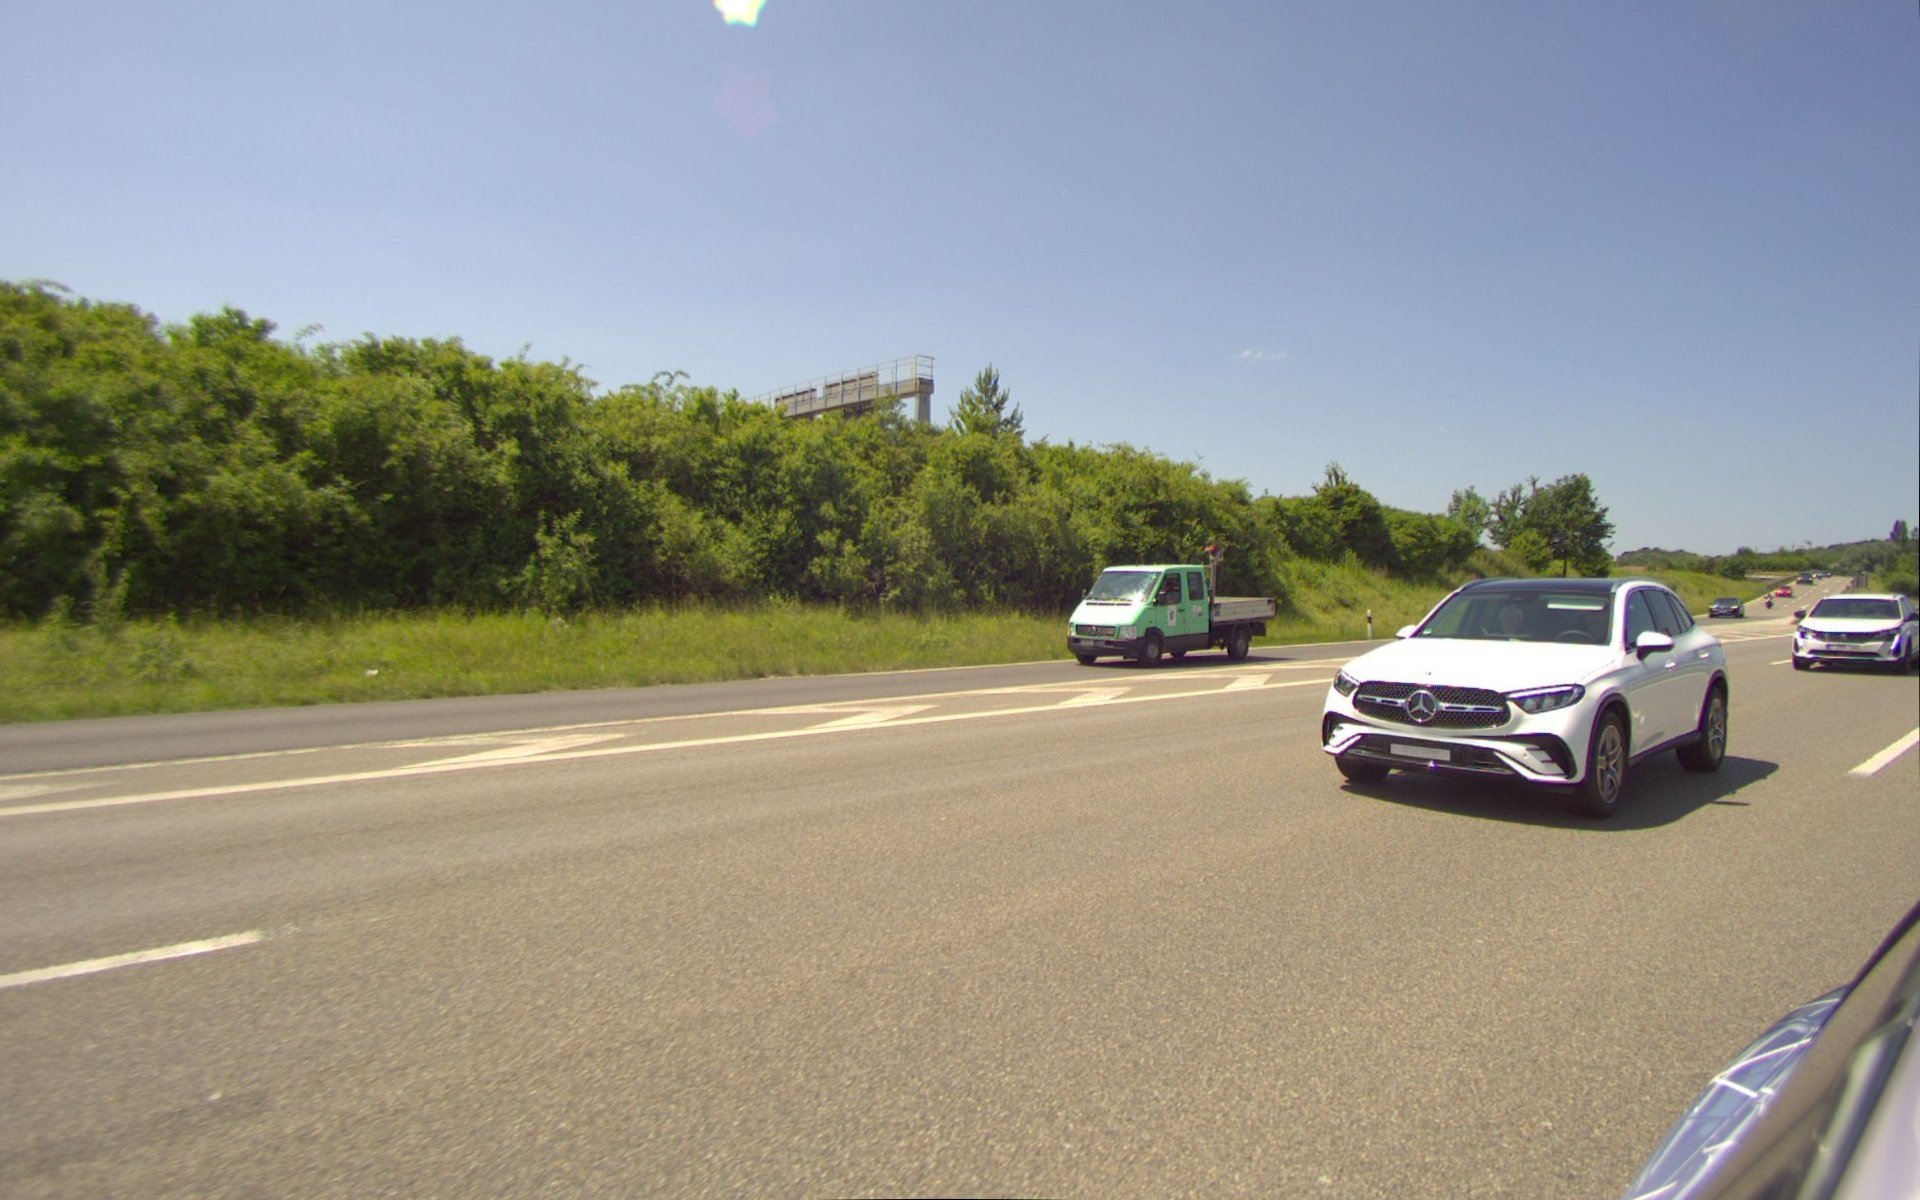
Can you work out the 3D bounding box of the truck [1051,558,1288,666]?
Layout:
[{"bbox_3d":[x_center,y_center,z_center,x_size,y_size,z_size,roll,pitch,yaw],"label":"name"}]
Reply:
[{"bbox_3d":[4.837,0.185,22.649,6.016,2.118,2.167,0,2,-44],"label":"truck"}]

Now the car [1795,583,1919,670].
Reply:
[{"bbox_3d":[19.533,0.476,21.645,4.538,1.650,1.896,-1,1,-42],"label":"car"}]

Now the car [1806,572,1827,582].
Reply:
[{"bbox_3d":[138.505,-3.755,163.648,4.539,1.650,1.980,-2,1,-43],"label":"car"}]

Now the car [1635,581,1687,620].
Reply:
[{"bbox_3d":[41.748,-0.004,60.230,1.992,2.199,4.819,1,1,42],"label":"car"}]

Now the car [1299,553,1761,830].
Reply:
[{"bbox_3d":[4.883,0.517,8.353,4.556,1.676,1.908,-1,1,-41],"label":"car"}]

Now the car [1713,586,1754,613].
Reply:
[{"bbox_3d":[61.628,-0.030,80.611,3.935,2.039,1.995,-2,1,-44],"label":"car"}]
